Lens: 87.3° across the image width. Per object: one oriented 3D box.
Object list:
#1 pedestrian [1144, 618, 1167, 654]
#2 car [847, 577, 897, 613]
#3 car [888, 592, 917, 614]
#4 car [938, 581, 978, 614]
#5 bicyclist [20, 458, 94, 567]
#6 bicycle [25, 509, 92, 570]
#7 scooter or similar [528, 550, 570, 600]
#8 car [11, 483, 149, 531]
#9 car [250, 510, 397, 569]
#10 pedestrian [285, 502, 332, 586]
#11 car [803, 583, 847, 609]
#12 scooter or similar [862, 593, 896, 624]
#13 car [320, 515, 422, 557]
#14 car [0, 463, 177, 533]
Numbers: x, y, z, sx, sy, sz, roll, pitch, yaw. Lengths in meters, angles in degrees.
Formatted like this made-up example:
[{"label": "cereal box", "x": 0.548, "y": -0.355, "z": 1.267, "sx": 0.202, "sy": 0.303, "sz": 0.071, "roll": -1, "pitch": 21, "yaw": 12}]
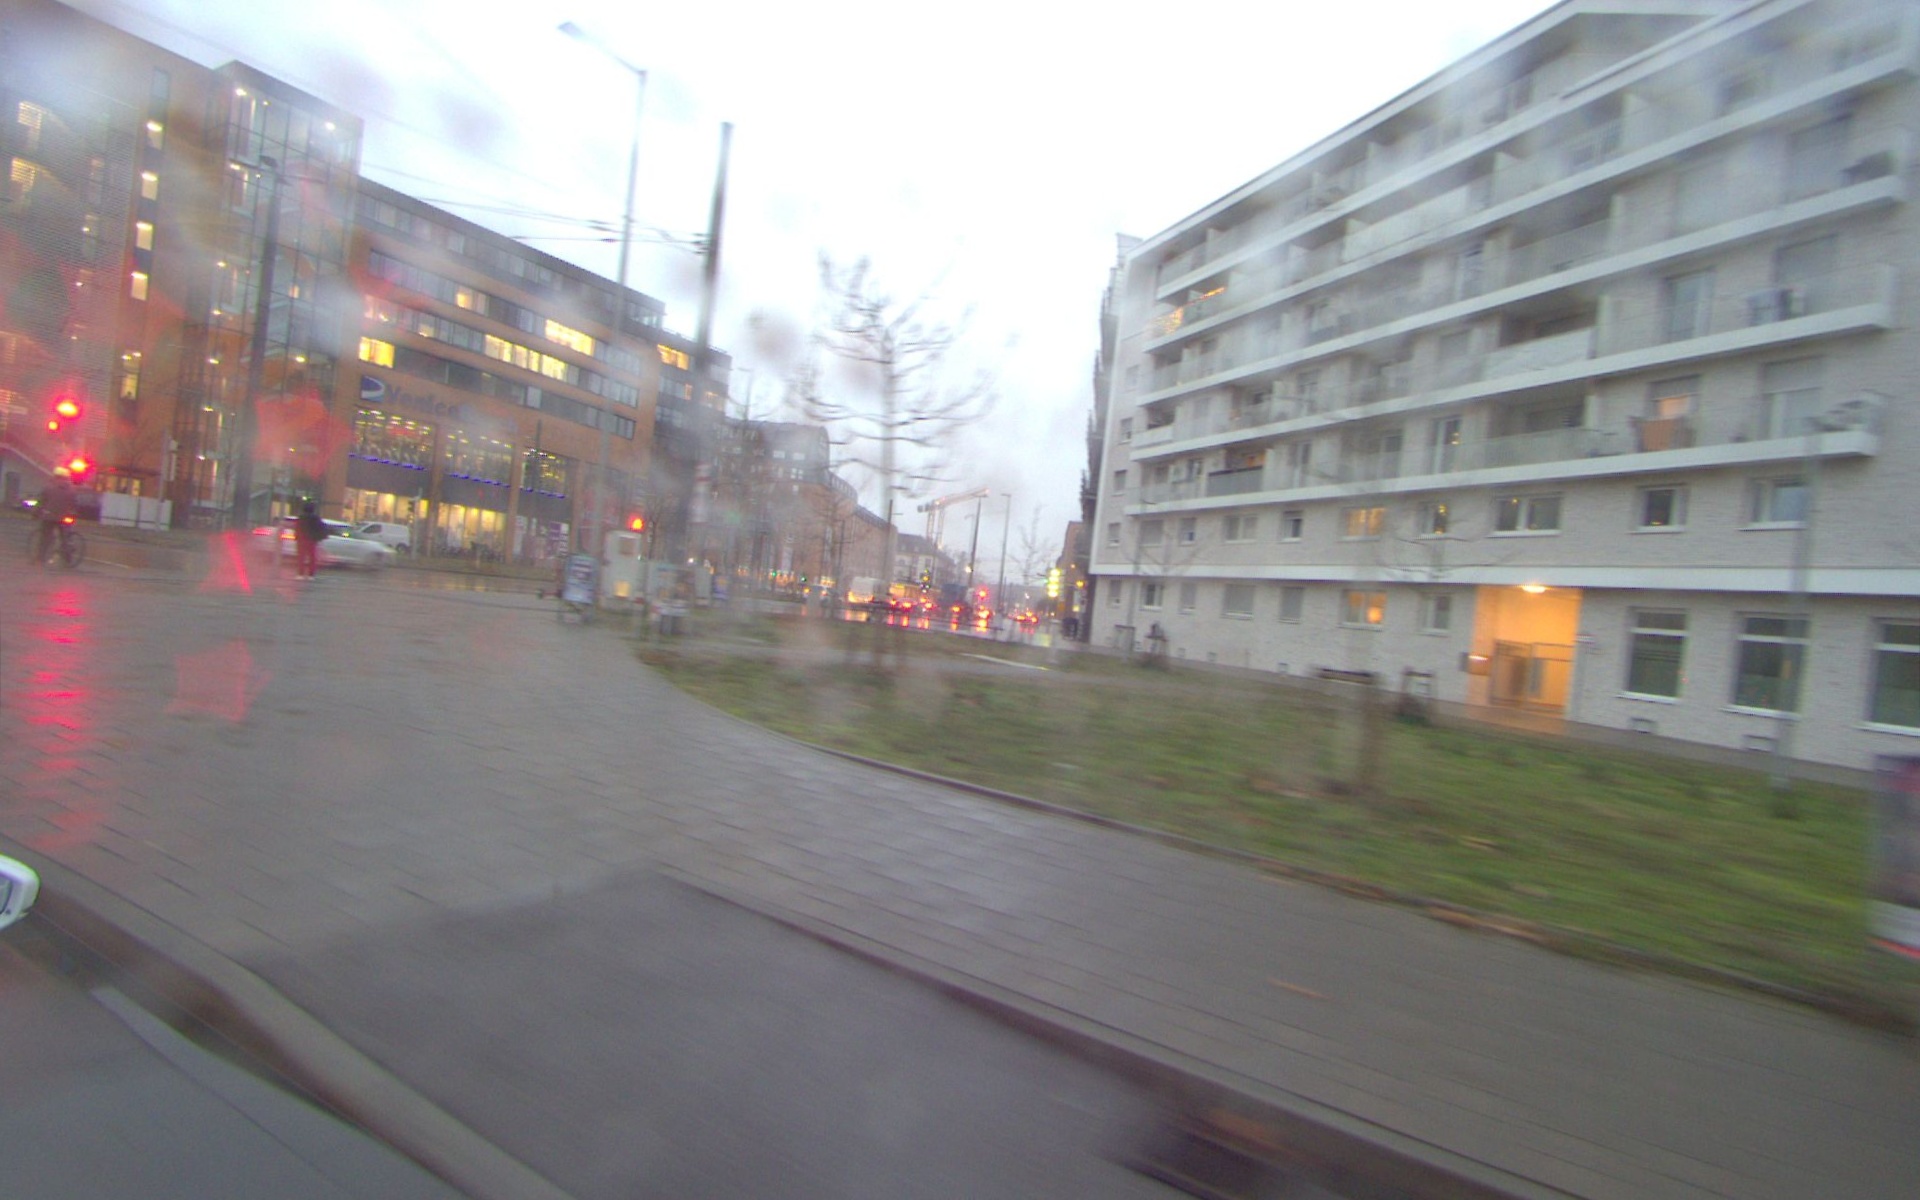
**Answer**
[{"label": "pedestrian", "x": 9.494, "y": 1.749, "z": 48.894, "sx": 0.624, "sy": 1.653, "sz": 0.718, "roll": 7, "pitch": 1, "yaw": 42}, {"label": "car", "x": -7.061, "y": -0.324, "z": 81.425, "sx": 1.962, "sy": 2.457, "sz": 5.977, "roll": 7, "pitch": 0, "yaw": 13}, {"label": "car", "x": -4.995, "y": 0.281, "z": 87.907, "sx": 1.494, "sy": 1.538, "sz": 3.473, "roll": 7, "pitch": -1, "yaw": 14}, {"label": "car", "x": -0.125, "y": -0.216, "z": 103.963, "sx": 2.318, "sy": 2.861, "sz": 6.362, "roll": 7, "pitch": 0, "yaw": 15}, {"label": "bicyclist", "x": -17.099, "y": -1.652, "z": 19.040, "sx": 0.975, "sy": 1.914, "sz": 0.789, "roll": 7, "pitch": 1, "yaw": 40}, {"label": "bicycle", "x": -17.161, "y": -1.168, "z": 19.143, "sx": 1.840, "sy": 0.986, "sz": 0.654, "roll": 7, "pitch": 1, "yaw": 41}, {"label": "scooter or similar", "x": -10.838, "y": -0.647, "z": 26.547, "sx": 0.327, "sy": 1.221, "sz": 1.309, "roll": 7, "pitch": 0, "yaw": 6}, {"label": "car", "x": -40.079, "y": -4.217, "z": 45.959, "sx": 1.600, "sy": 1.462, "sz": 4.421, "roll": 7, "pitch": 0, "yaw": 24}, {"label": "car", "x": -20.384, "y": -1.891, "z": 32.395, "sx": 1.614, "sy": 1.377, "sz": 3.734, "roll": 7, "pitch": 0, "yaw": 17}, {"label": "pedestrian", "x": -15.608, "y": -1.345, "z": 24.113, "sx": 0.768, "sy": 1.901, "sz": 0.629, "roll": 6, "pitch": 1, "yaw": -33}, {"label": "car", "x": -9.783, "y": -0.274, "z": 73.116, "sx": 1.613, "sy": 1.514, "sz": 3.685, "roll": 7, "pitch": 0, "yaw": 16}, {"label": "scooter or similar", "x": -3.627, "y": 0.389, "z": 45.108, "sx": 0.658, "sy": 1.241, "sz": 1.555, "roll": 7, "pitch": -1, "yaw": 29}, {"label": "car", "x": -33.808, "y": -3.658, "z": 57.851, "sx": 1.898, "sy": 1.740, "sz": 4.599, "roll": 7, "pitch": 0, "yaw": 33}, {"label": "car", "x": -37.660, "y": -4.347, "z": 43.429, "sx": 1.923, "sy": 2.084, "sz": 5.643, "roll": 7, "pitch": 0, "yaw": 35}]
